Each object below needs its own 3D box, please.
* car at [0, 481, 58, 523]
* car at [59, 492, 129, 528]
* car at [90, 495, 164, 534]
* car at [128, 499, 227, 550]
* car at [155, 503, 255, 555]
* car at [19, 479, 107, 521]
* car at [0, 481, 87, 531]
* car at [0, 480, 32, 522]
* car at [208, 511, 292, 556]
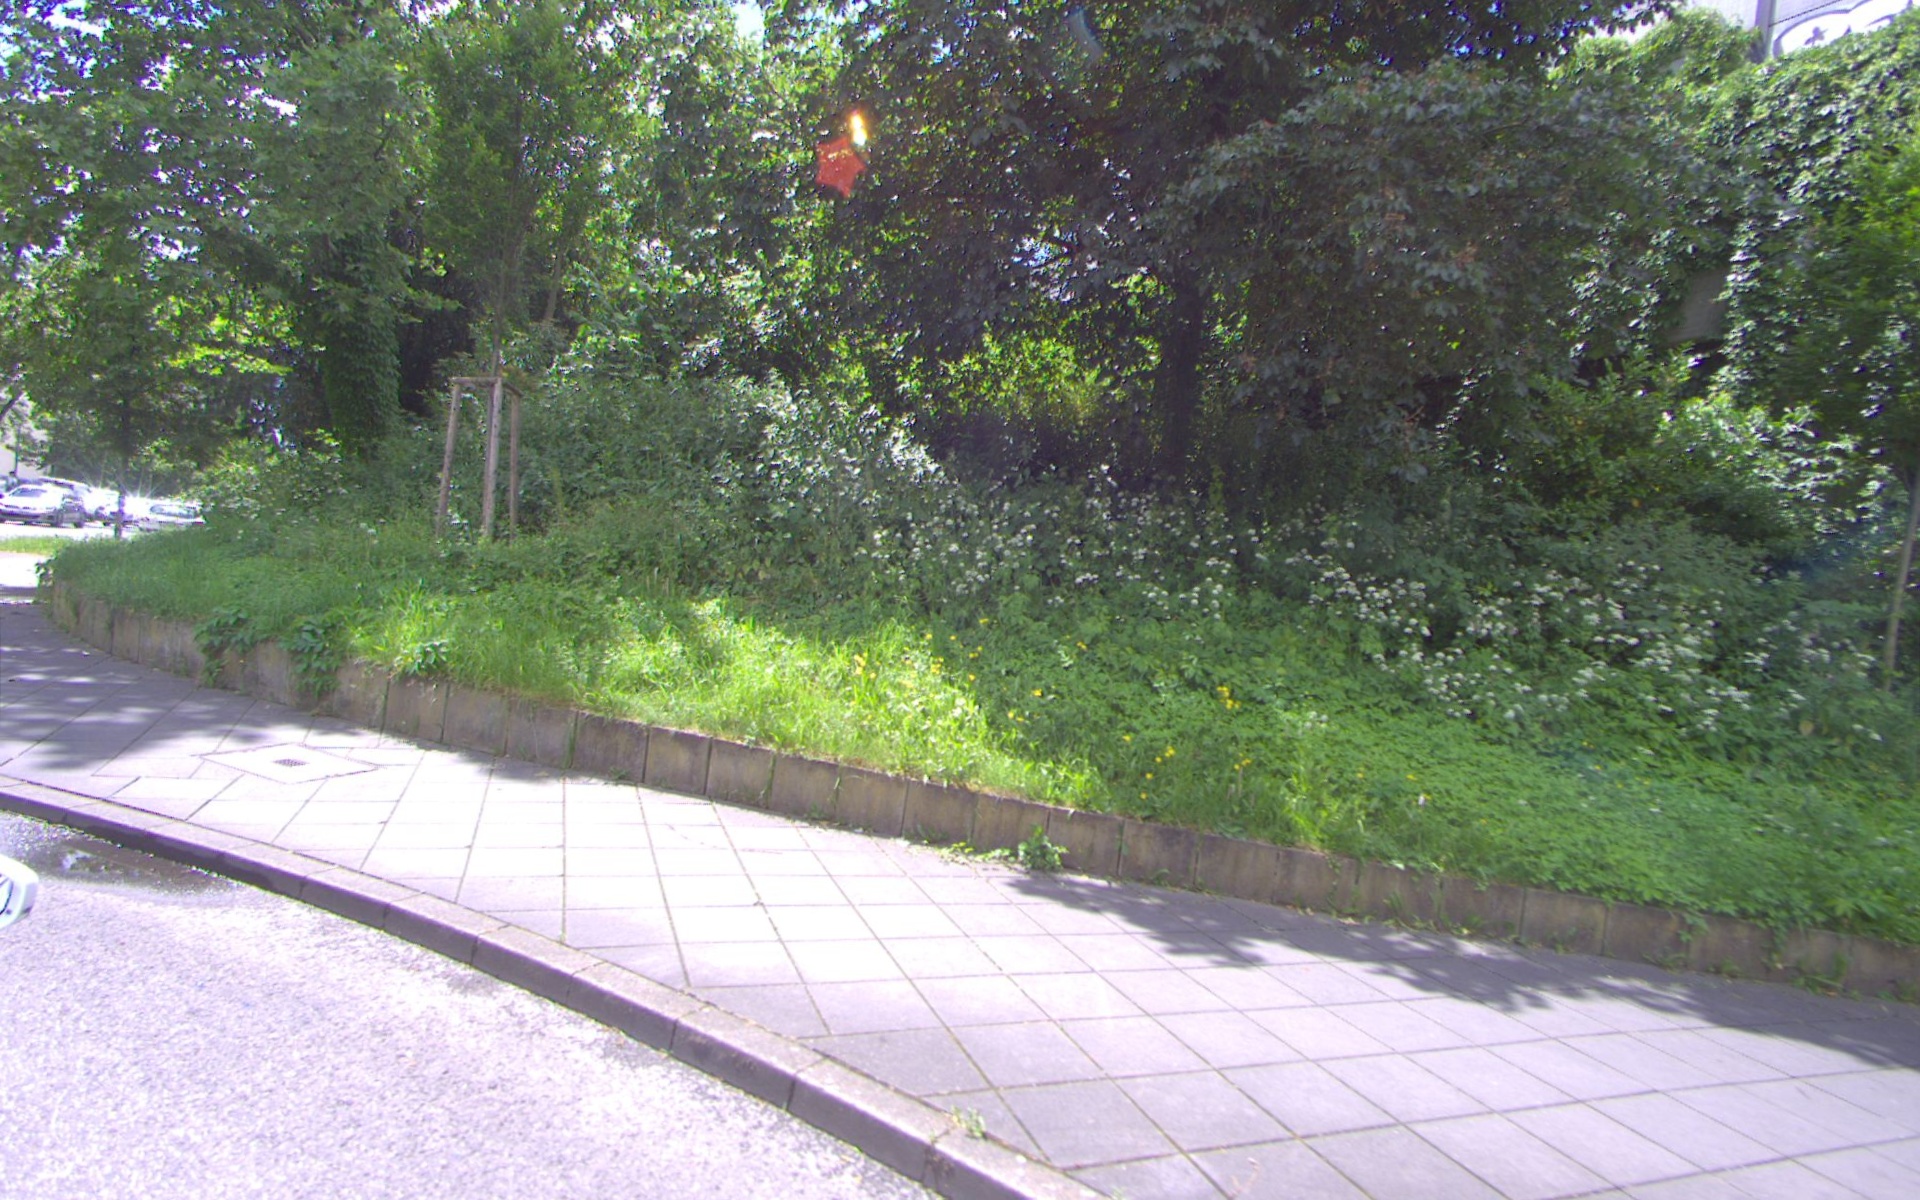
[{"bbox_3d":[-40.577,-4.257,43.089,1.980,1.526,4.546,8,-1,-32],"label":"car"},{"bbox_3d":[-46.089,-4.765,53.648,1.980,1.526,4.546,8,-1,-32],"label":"car"},{"bbox_3d":[-40.223,-4.095,48.702,1.979,1.526,4.547,7,0,-31],"label":"car"},{"bbox_3d":[-24.932,-2.376,32.187,1.735,1.347,3.971,4,1,-28],"label":"car"},{"bbox_3d":[-27.886,-2.579,37.314,1.910,1.504,3.978,8,-1,-23],"label":"car"},{"bbox_3d":[-43.474,-4.825,48.884,1.978,1.526,4.552,8,-1,-28],"label":"car"},{"bbox_3d":[-33.739,-3.409,36.743,1.979,1.526,4.546,7,0,-32],"label":"car"},{"bbox_3d":[-38.067,-3.984,39.080,1.980,1.526,4.546,8,-1,-32],"label":"car"},{"bbox_3d":[-29.675,-2.772,42.154,1.910,1.504,3.977,8,0,-23],"label":"car"}]
